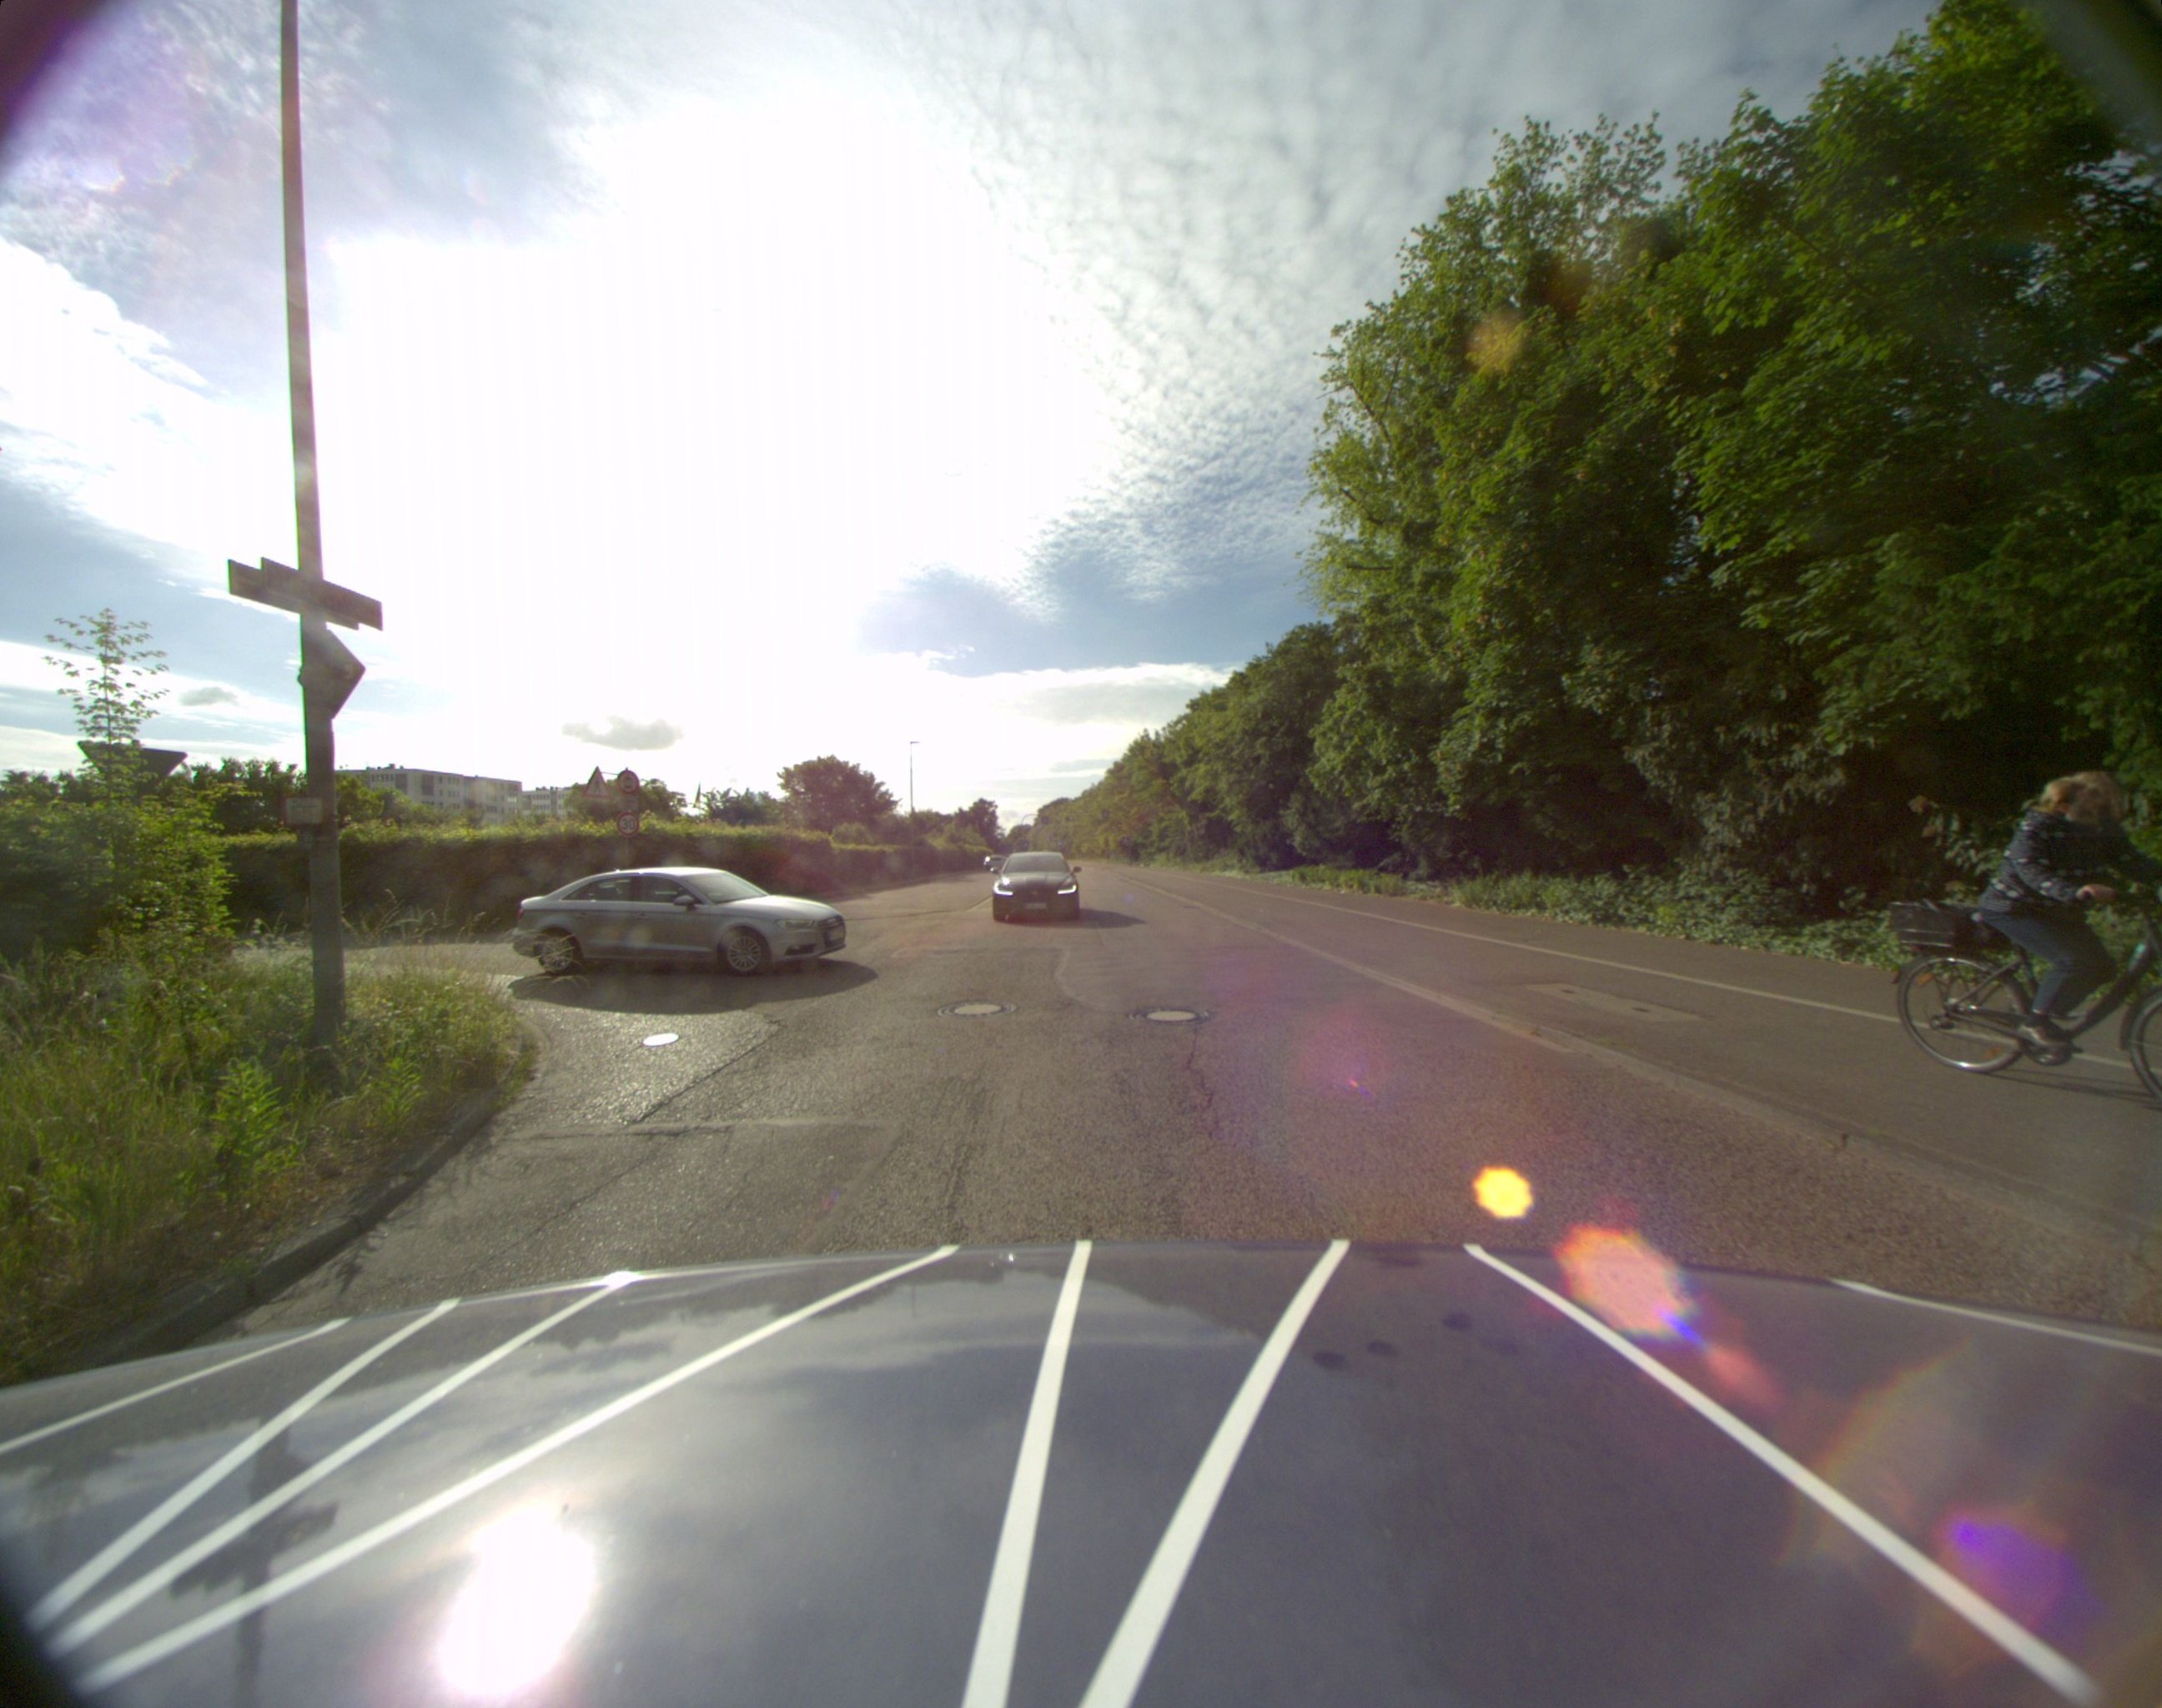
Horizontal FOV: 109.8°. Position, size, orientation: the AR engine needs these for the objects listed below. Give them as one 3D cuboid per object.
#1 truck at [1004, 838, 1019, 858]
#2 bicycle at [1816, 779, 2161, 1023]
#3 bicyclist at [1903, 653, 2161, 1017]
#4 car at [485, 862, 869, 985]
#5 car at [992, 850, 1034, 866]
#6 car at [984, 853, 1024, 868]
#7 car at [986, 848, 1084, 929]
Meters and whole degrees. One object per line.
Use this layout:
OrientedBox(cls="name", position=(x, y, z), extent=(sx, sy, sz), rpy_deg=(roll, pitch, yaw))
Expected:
OrientedBox(cls="truck", position=(-14.329, -1.283, 156.060), extent=(2.604, 3.936, 6.277), rpy_deg=(0, 1, -10))
OrientedBox(cls="bicycle", position=(5.135, 0.194, 3.766), extent=(0.664, 1.091, 2.348), rpy_deg=(-3, 0, -1))
OrientedBox(cls="bicyclist", position=(5.113, -0.102, 3.955), extent=(0.610, 1.667, 0.883), rpy_deg=(-5, 1, -1))
OrientedBox(cls="car", position=(-5.480, 0.924, 10.669), extent=(4.371, 1.435, 1.933), rpy_deg=(-1, 2, 7))
OrientedBox(cls="car", position=(-7.738, 0.461, 86.531), extent=(4.600, 1.690, 1.762), rpy_deg=(-2, 2, -1))
OrientedBox(cls="car", position=(-7.637, 0.642, 75.829), extent=(3.868, 1.481, 1.692), rpy_deg=(0, 0, -3))
OrientedBox(cls="car", position=(-1.045, 0.693, 17.960), extent=(1.937, 1.501, 4.677), rpy_deg=(-3, 1, -3))
